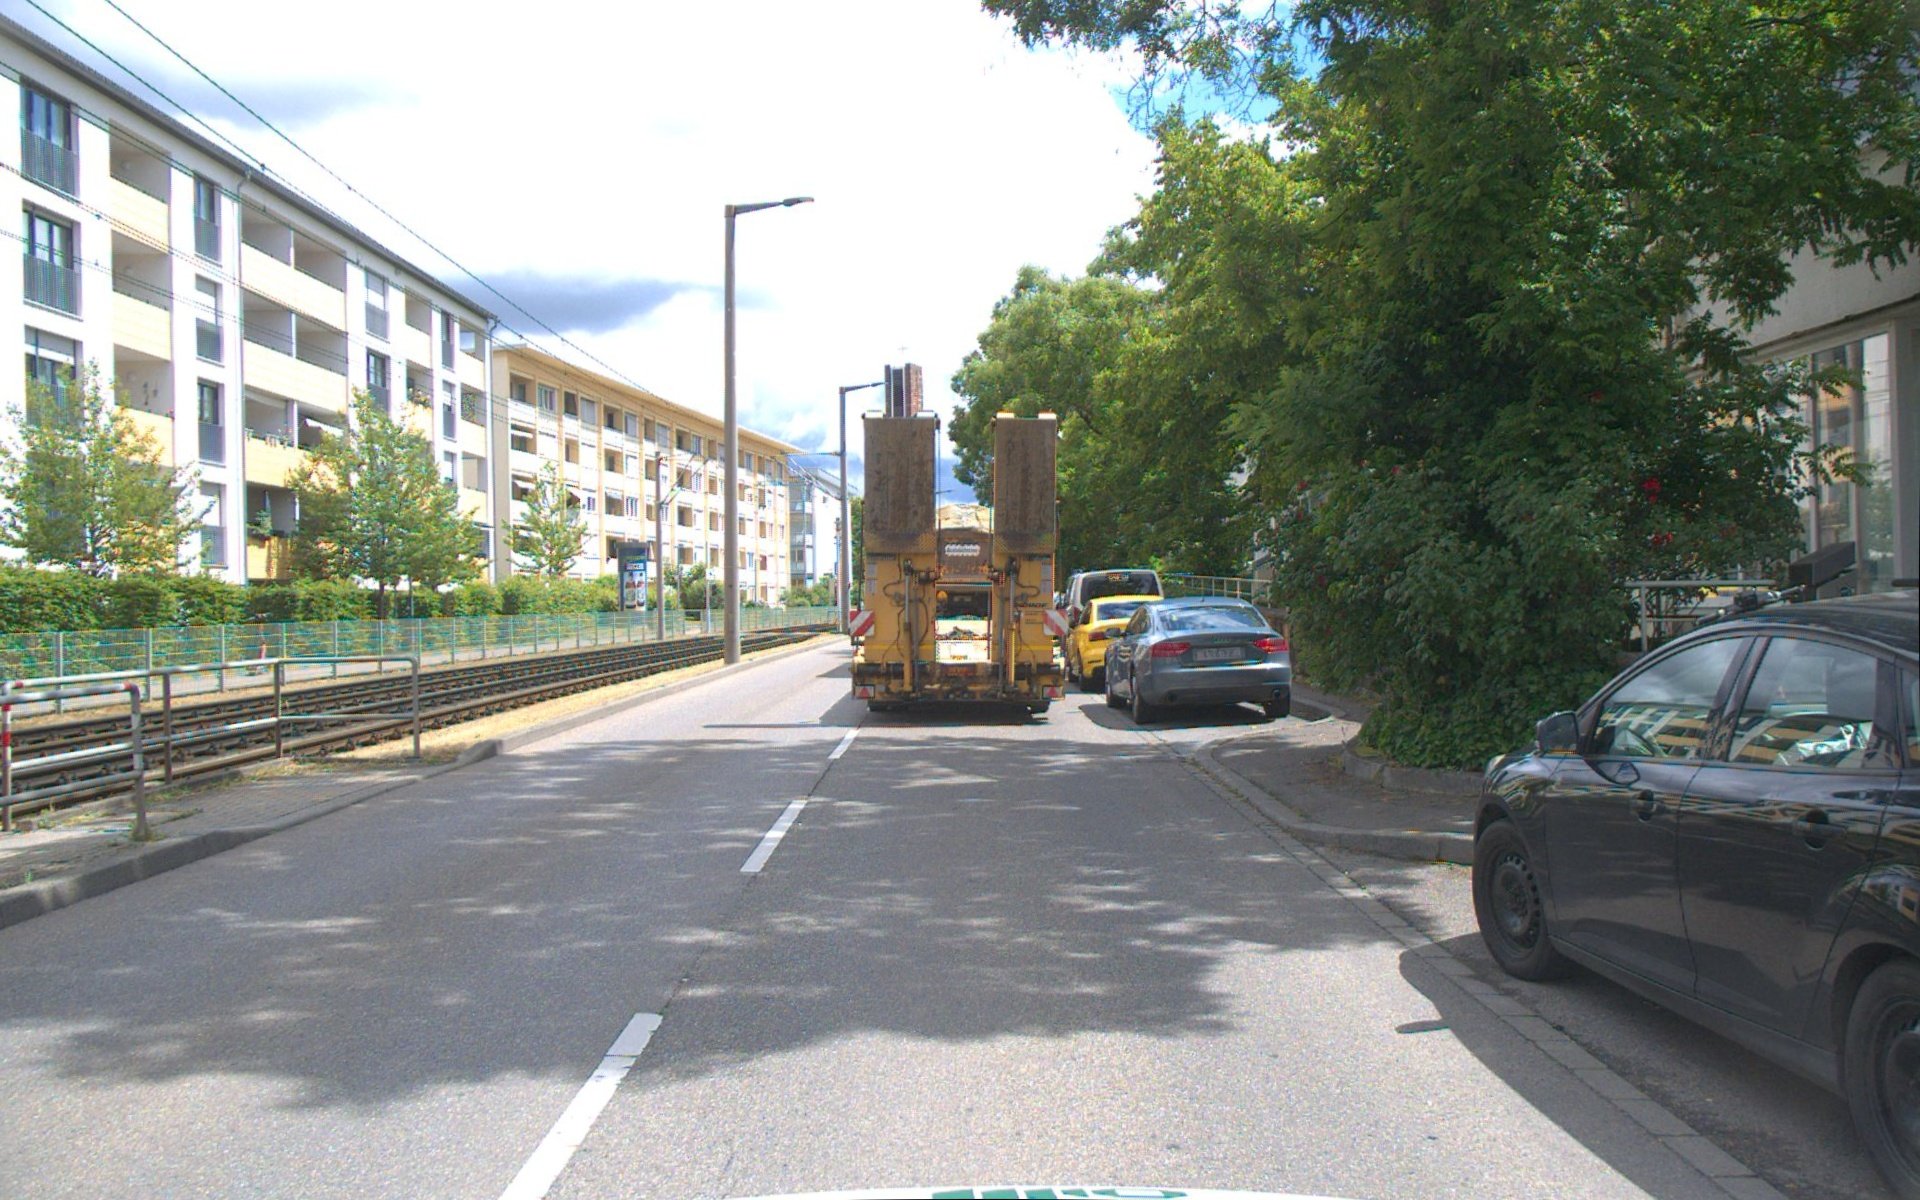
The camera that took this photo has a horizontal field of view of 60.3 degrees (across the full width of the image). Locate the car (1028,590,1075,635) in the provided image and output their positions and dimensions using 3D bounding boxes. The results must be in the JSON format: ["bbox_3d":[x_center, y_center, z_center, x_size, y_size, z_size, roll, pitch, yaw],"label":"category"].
[{"bbox_3d":[3.755,0.490,67.644,1.785,1.711,4.578,-2,0,4],"label":"car"}]

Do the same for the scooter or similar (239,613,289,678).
[{"bbox_3d":[-14.629,0.941,34.805,0.480,1.315,1.302,-1,0,1],"label":"scooter or similar"}]

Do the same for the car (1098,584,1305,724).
[{"bbox_3d":[2.824,0.591,20.273,1.720,1.467,4.492,-2,0,-2],"label":"car"}]

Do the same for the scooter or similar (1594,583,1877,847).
[{"bbox_3d":[4.033,0.560,8.659,0.530,1.264,1.220,-2,1,-36],"label":"scooter or similar"}]

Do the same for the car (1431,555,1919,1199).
[{"bbox_3d":[3.073,0.634,5.258,1.797,1.532,4.241,-2,0,-2],"label":"car"}]

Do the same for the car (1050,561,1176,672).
[{"bbox_3d":[2.978,0.302,33.358,1.875,1.993,5.744,-2,0,-1],"label":"car"}]

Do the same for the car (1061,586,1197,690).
[{"bbox_3d":[2.651,0.565,26.823,1.719,1.467,4.341,-2,0,0],"label":"car"}]

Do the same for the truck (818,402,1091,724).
[{"bbox_3d":[-0.192,-0.437,24.989,3.060,3.627,12.456,-1,0,-1],"label":"truck"}]

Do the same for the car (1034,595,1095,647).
[{"bbox_3d":[3.207,0.639,51.332,1.575,1.482,3.675,-2,0,-1],"label":"car"}]
